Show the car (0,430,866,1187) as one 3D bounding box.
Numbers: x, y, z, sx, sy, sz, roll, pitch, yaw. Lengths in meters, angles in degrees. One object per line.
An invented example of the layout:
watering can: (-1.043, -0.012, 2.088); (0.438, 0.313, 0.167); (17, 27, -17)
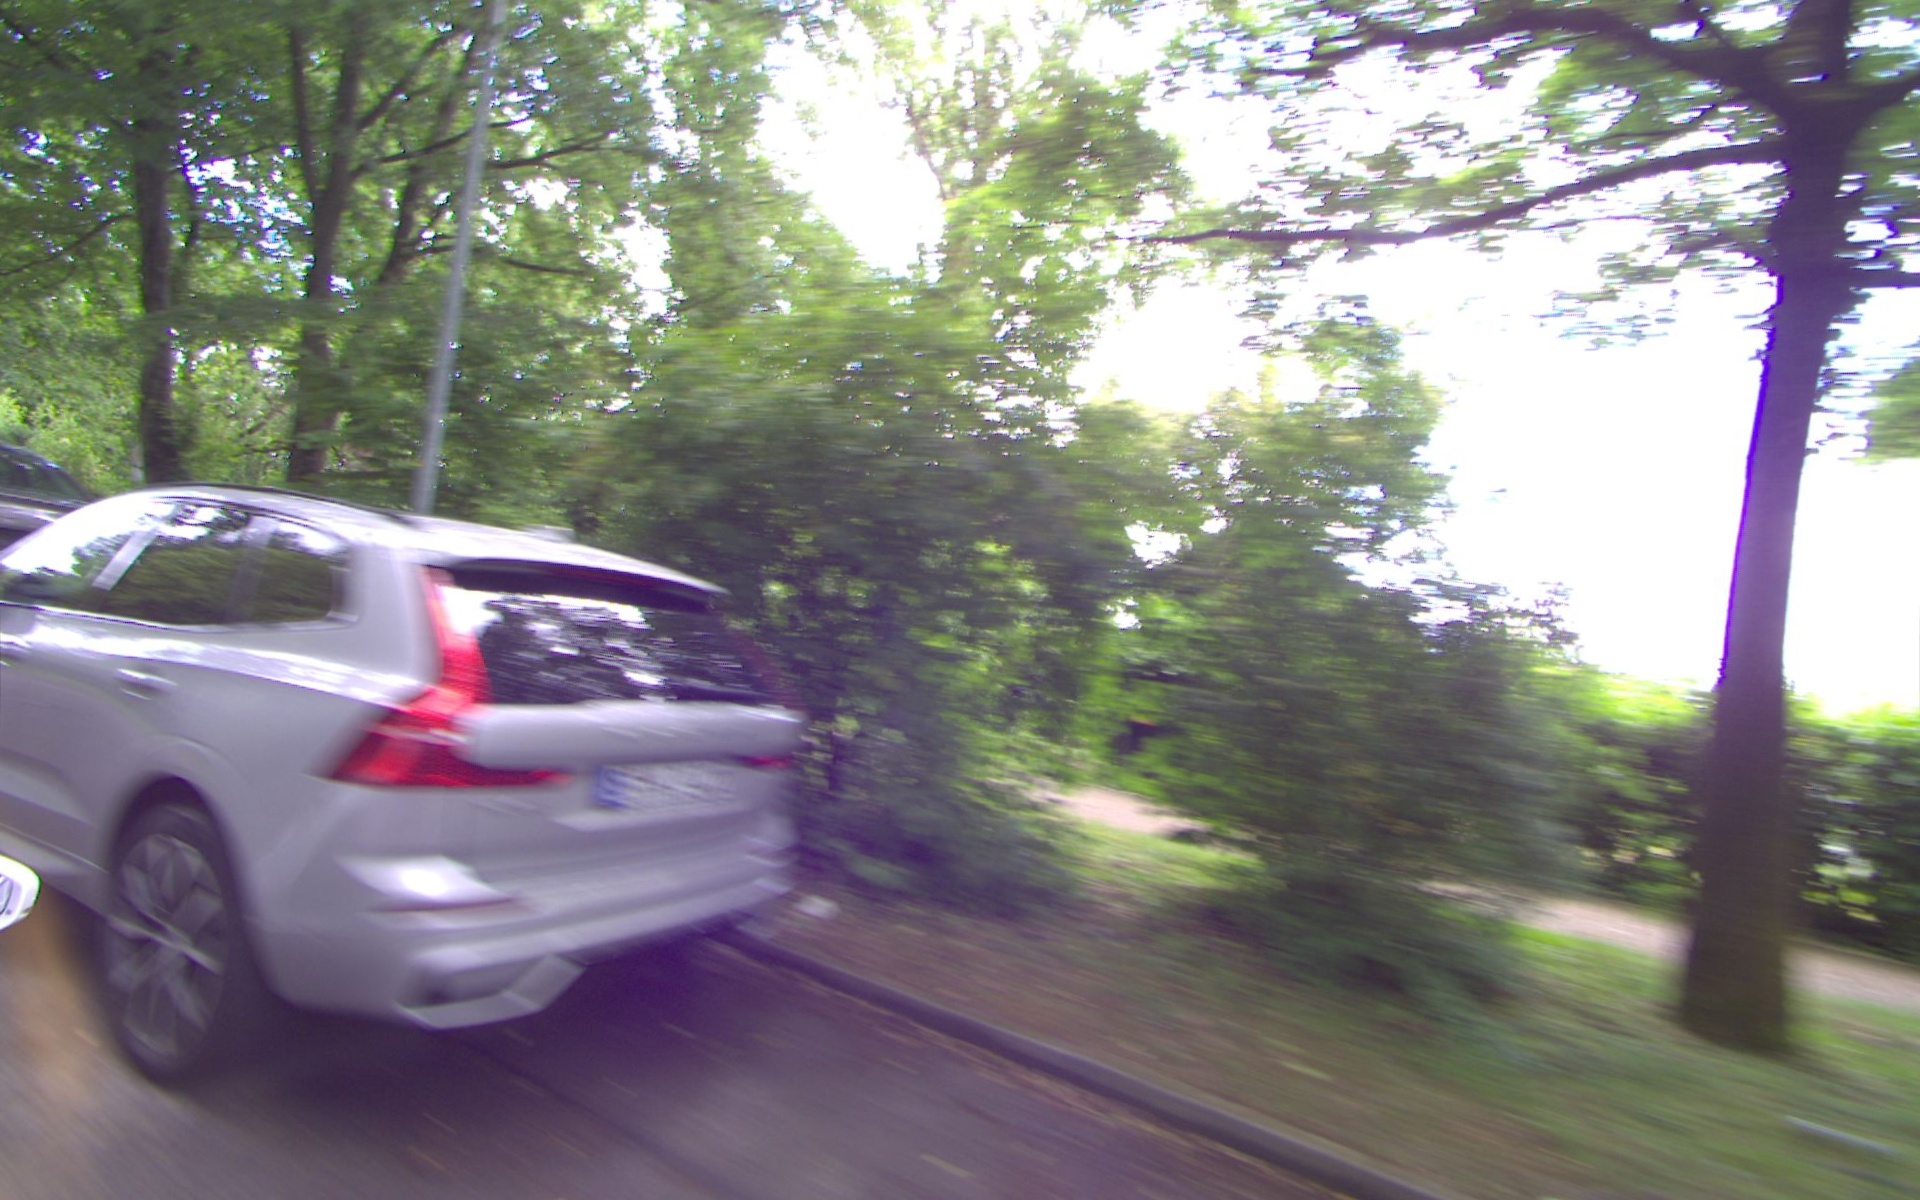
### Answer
car: (-2.801, 0.366, 4.094); (4.424, 1.689, 1.797); (5, -2, 28)

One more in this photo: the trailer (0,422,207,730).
trailer: (-7.902, -0.422, 7.258); (5.061, 1.833, 1.984); (8, -1, 30)
